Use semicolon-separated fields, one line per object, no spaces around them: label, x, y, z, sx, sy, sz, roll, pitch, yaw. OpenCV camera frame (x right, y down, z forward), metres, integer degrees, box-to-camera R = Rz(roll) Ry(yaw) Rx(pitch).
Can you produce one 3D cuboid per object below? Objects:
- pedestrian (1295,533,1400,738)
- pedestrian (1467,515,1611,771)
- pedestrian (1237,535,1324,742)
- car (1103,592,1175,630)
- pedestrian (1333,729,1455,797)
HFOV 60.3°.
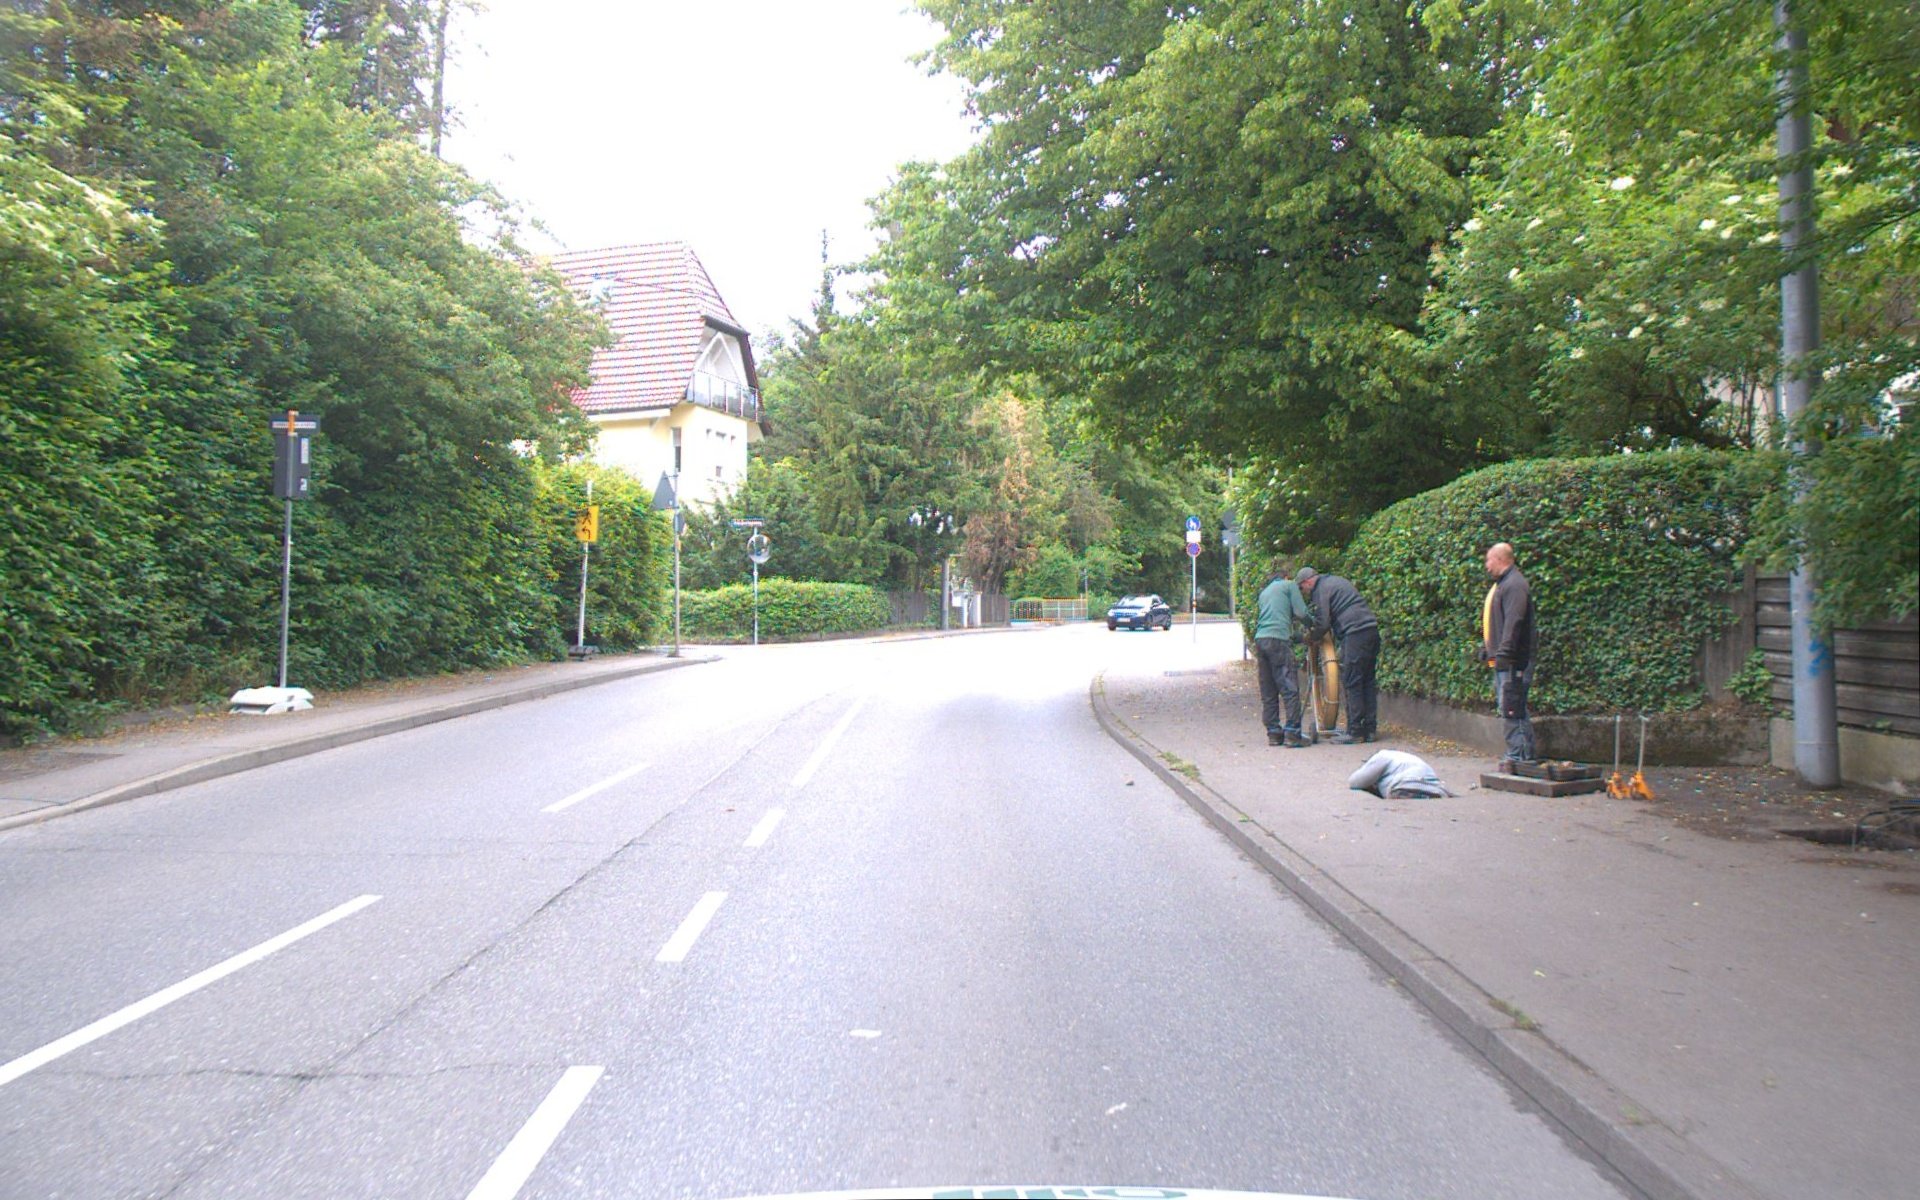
pedestrian;3.577;0.317;15.269;0.685;1.839;0.663;0;0;-41
pedestrian;4.293;0.311;12.304;0.790;1.839;0.741;0;0;-1
pedestrian;2.923;0.339;15.088;0.591;1.839;0.516;-1;0;40
car;7.152;0.401;65.740;1.721;1.464;4.091;0;0;24
pedestrian;3.053;1.142;11.691;0.658;0.400;0.741;0;0;-1
